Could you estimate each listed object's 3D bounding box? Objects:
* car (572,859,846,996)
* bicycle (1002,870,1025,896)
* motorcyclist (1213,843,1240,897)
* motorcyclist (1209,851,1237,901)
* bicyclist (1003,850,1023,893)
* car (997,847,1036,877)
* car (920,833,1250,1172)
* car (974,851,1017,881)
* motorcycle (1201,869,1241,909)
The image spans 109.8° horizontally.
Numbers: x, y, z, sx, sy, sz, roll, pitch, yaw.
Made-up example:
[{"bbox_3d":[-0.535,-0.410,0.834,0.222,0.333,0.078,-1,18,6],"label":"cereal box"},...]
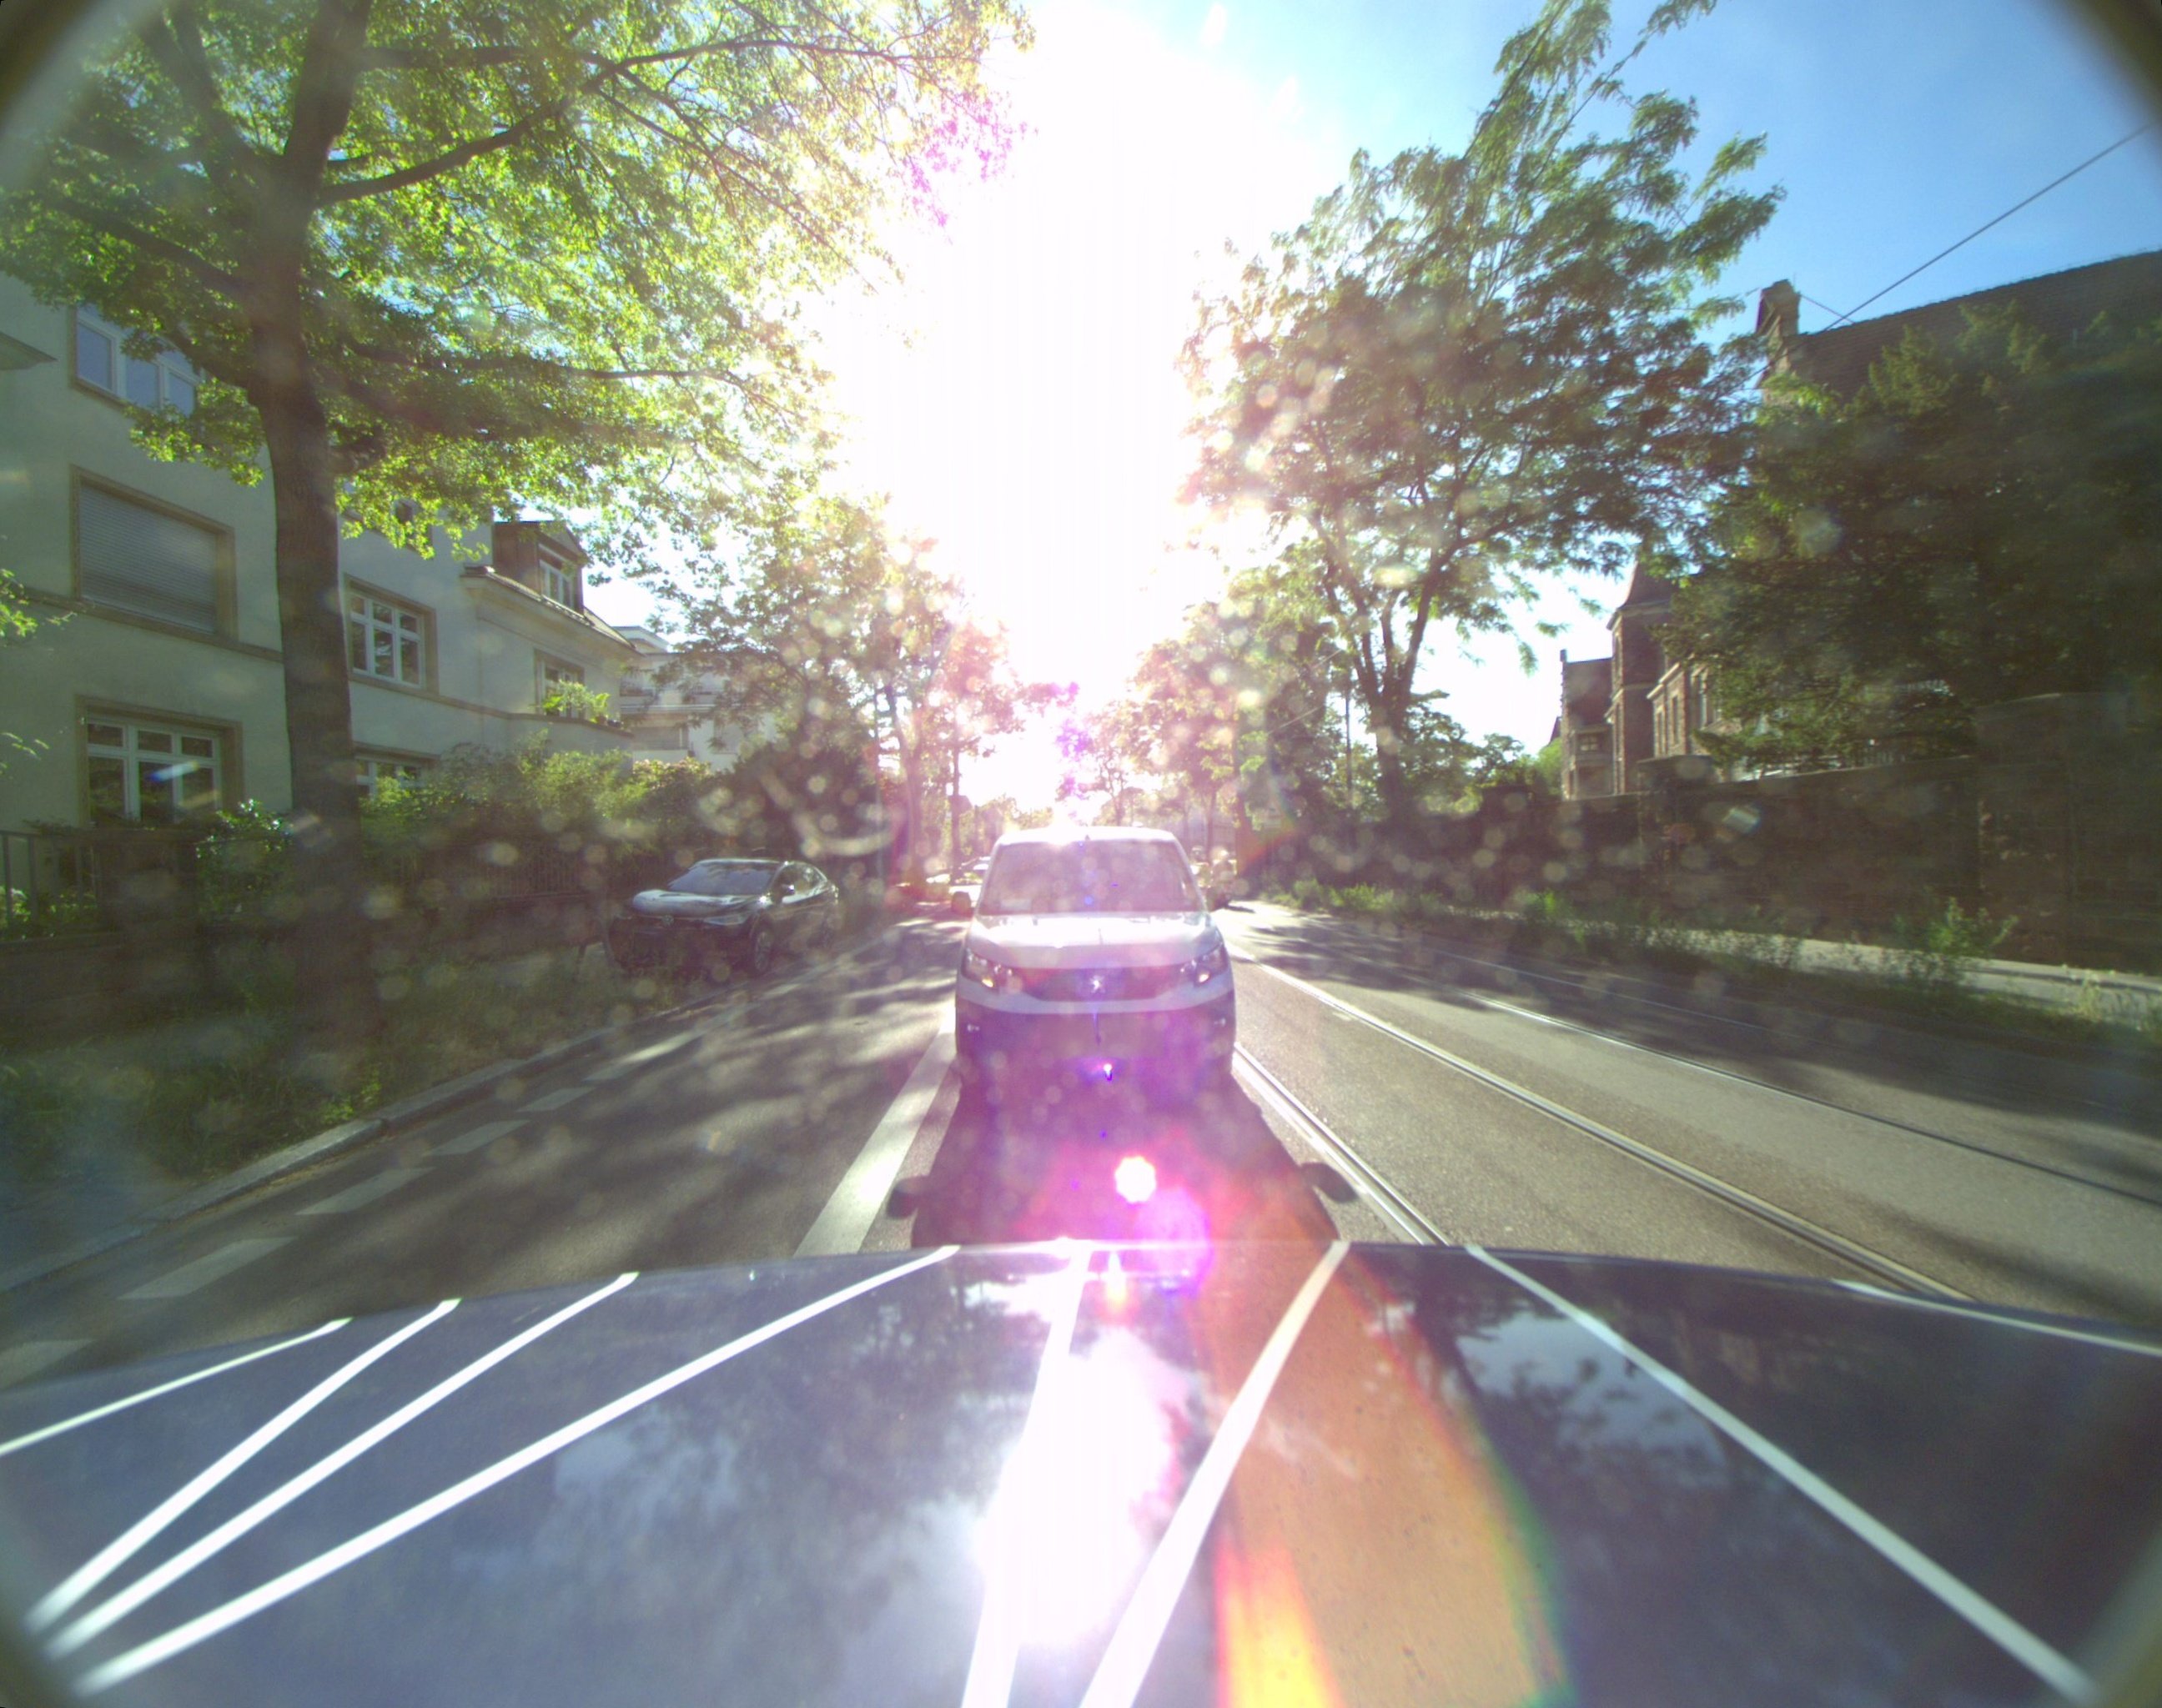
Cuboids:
[{"bbox_3d":[-5.251,0.933,11.535,1.999,1.665,4.380,1,-1,0],"label":"car"},{"bbox_3d":[-2.638,1.138,29.777,0.677,0.920,1.885,-2,0,1],"label":"bicycle"},{"bbox_3d":[4.208,0.456,21.981,0.608,1.507,0.465,-2,1,-9],"label":"motorcyclist"},{"bbox_3d":[4.197,0.637,22.495,0.686,1.432,0.446,-2,1,-9],"label":"motorcyclist"},{"bbox_3d":[-2.651,0.666,29.795,0.677,1.648,0.745,-2,1,1],"label":"bicyclist"},{"bbox_3d":[-4.357,0.506,51.769,2.129,1.884,4.746,-2,0,1],"label":"car"},{"bbox_3d":[0.017,0.800,6.114,1.768,1.812,3.999,-1,0,0],"label":"car"},{"bbox_3d":[-5.041,0.663,45.209,1.823,1.630,4.001,-2,0,4],"label":"car"},{"bbox_3d":[4.139,1.022,22.584,0.611,1.087,1.855,-2,0,-8],"label":"motorcycle"}]
